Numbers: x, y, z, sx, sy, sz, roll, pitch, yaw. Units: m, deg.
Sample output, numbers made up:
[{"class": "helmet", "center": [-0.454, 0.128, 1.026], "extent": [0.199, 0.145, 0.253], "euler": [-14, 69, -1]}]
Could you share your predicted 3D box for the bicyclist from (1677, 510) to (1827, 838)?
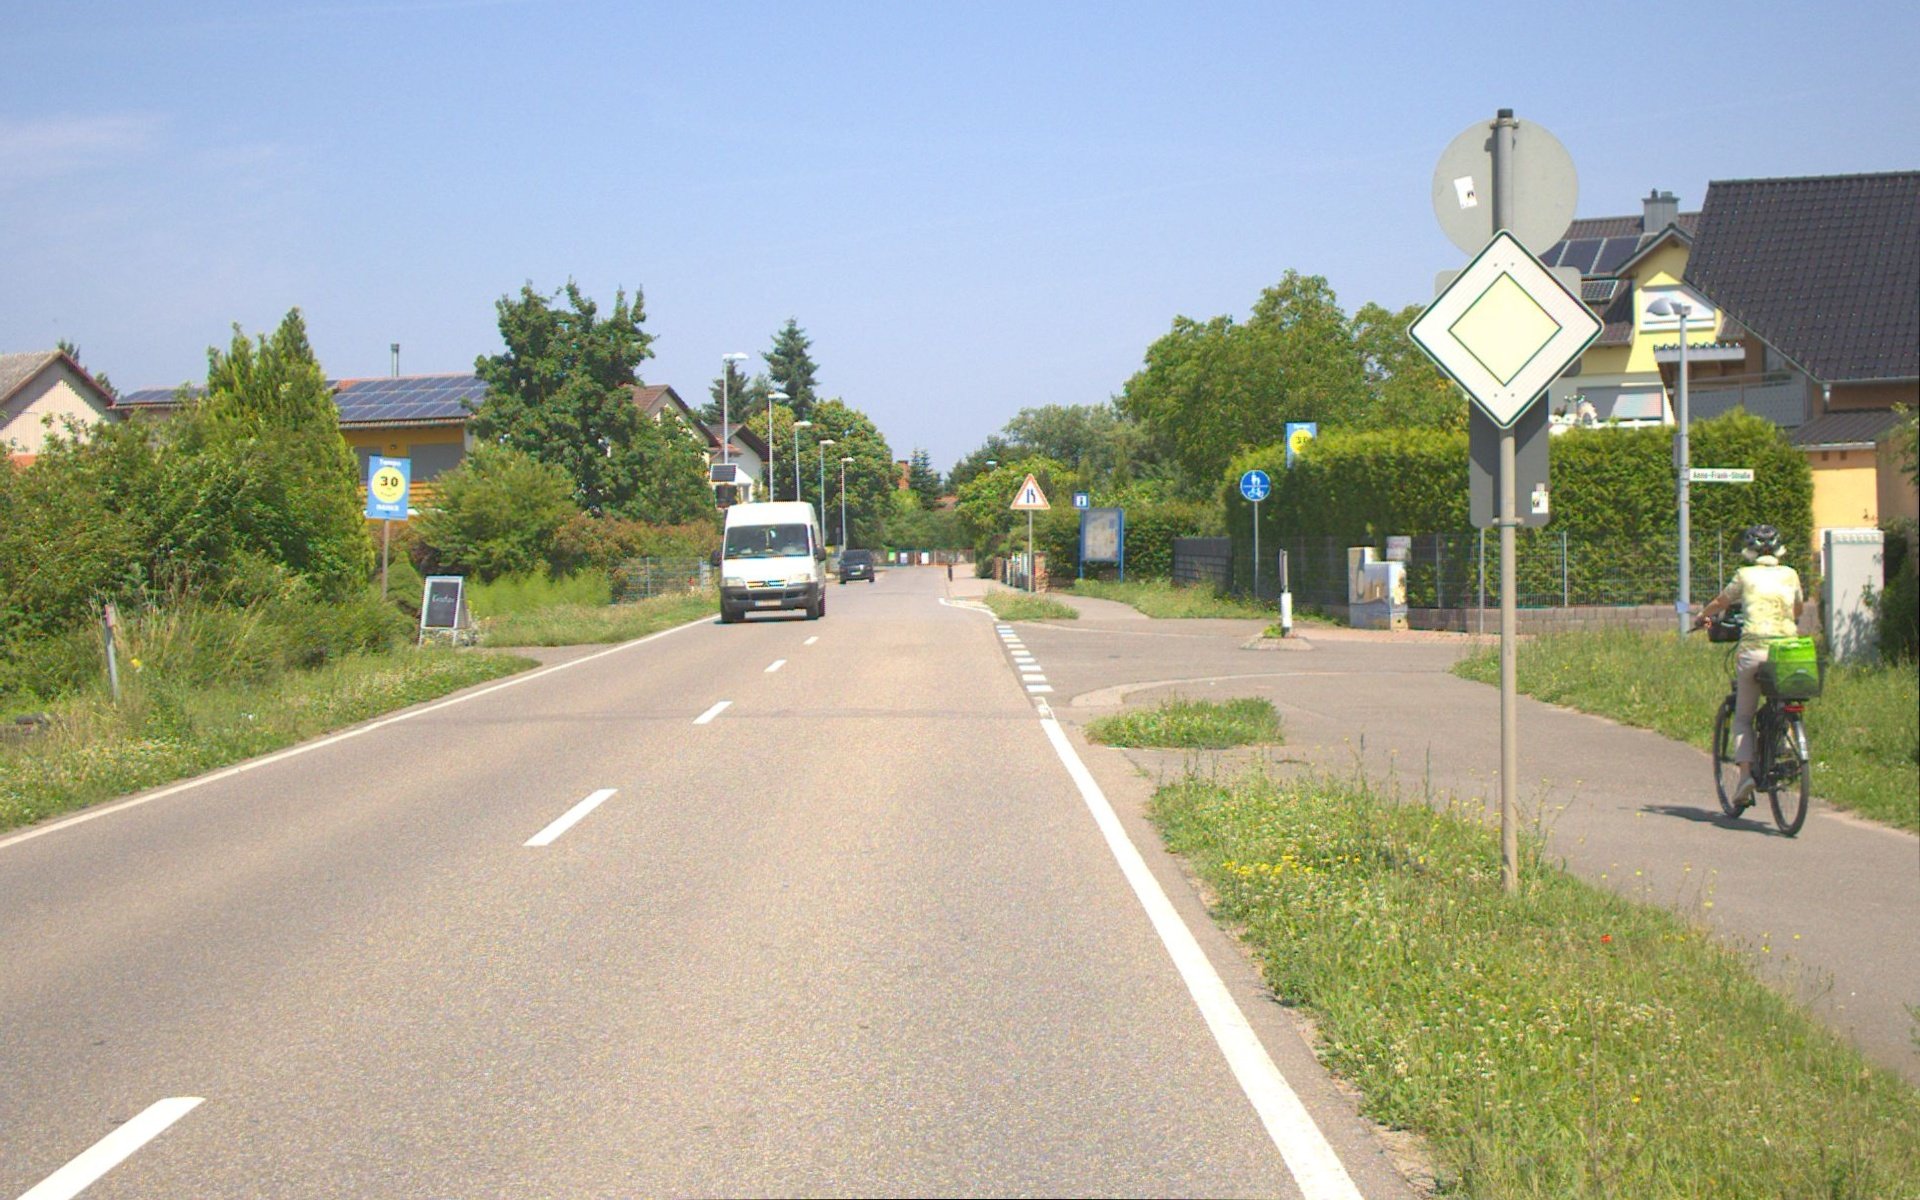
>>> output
[{"class": "bicyclist", "center": [4.668, 0.419, 20.306], "extent": [0.645, 1.883, 0.861], "euler": [1, 2, -1]}]

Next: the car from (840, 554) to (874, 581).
[{"class": "car", "center": [-5.551, -1.743, 185.929], "extent": [1.759, 1.380, 3.453], "euler": [-2, 1, -1]}]

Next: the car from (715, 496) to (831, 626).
[{"class": "car", "center": [-3.855, -0.853, 71.864], "extent": [2.077, 2.533, 5.874], "euler": [-2, 1, -1]}]

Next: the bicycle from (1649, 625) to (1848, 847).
[{"class": "bicycle", "center": [4.666, 0.774, 20.485], "extent": [0.610, 1.155, 2.274], "euler": [1, 2, -1]}]
